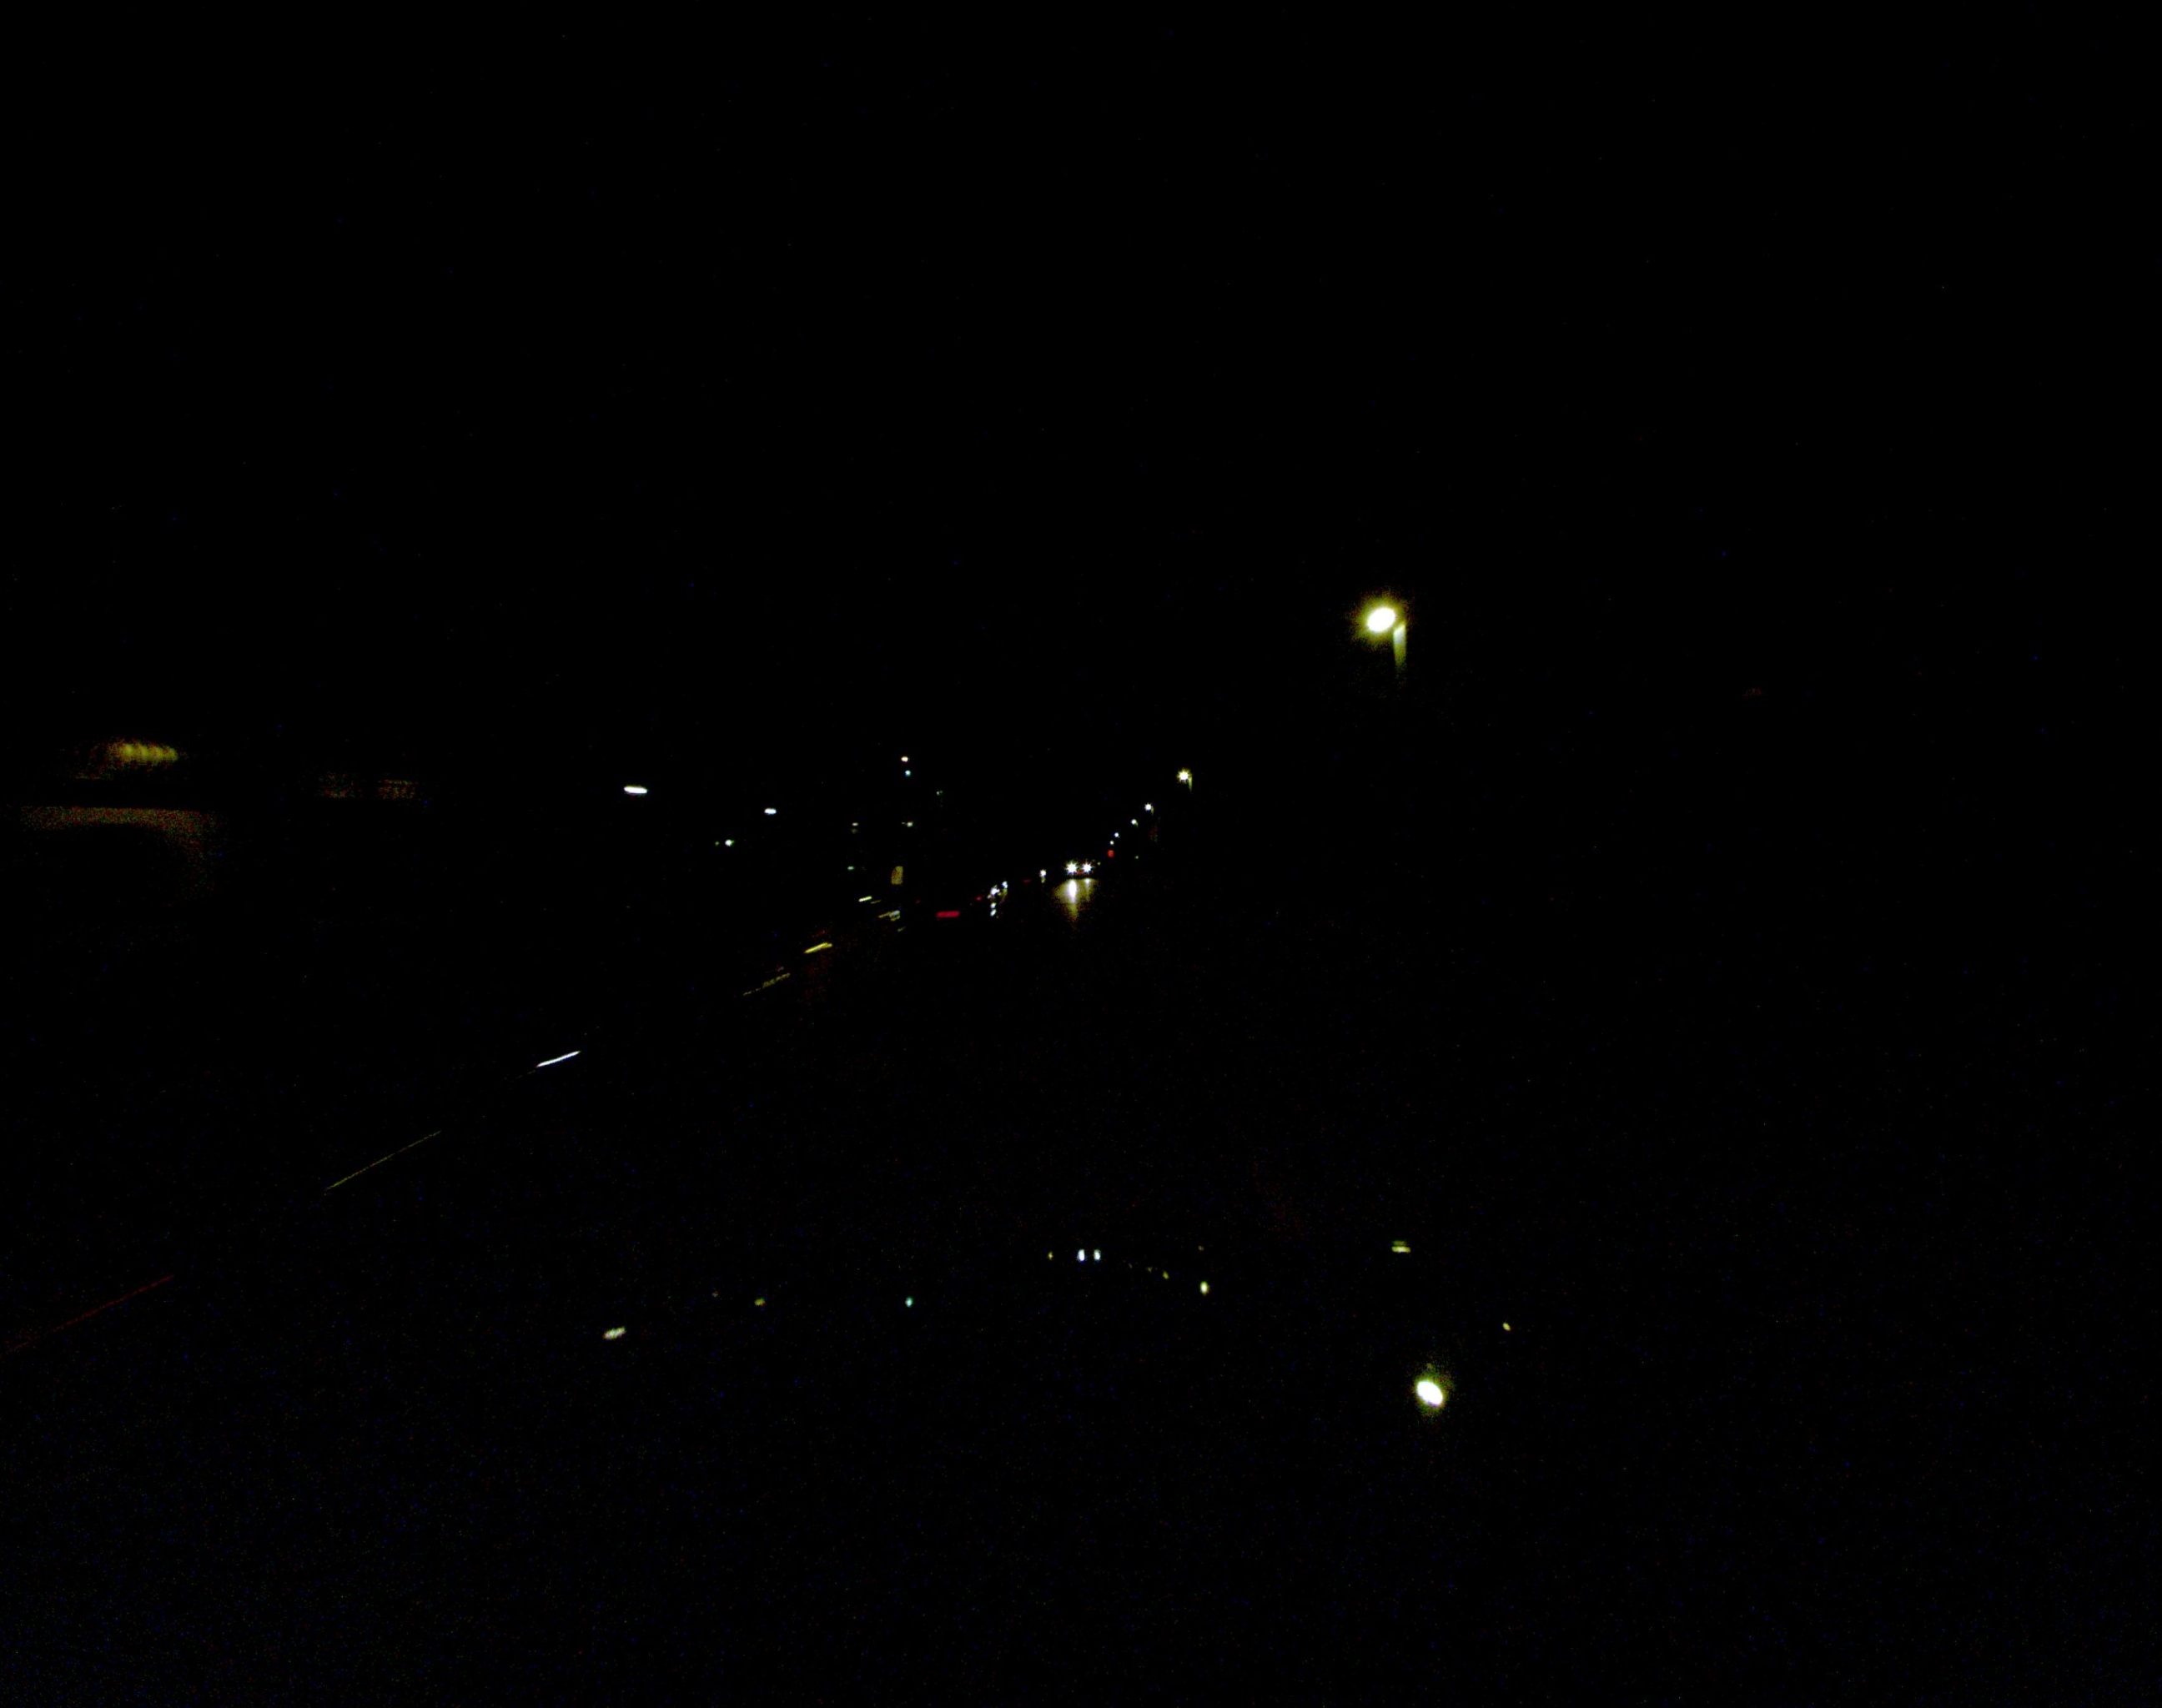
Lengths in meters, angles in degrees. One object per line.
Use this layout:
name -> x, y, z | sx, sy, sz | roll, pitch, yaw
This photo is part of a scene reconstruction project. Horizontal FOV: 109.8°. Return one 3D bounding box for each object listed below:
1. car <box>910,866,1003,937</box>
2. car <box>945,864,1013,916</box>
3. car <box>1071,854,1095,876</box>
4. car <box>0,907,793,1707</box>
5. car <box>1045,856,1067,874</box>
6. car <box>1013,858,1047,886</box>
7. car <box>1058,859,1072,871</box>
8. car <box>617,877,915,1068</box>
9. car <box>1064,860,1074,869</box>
car -> -2.960, 1.075, 18.775 | 1.681, 1.439, 3.999 | -2, 0, -1
car -> -3.146, 1.075, 23.995 | 1.604, 1.390, 3.517 | -2, 0, 1
car -> 0.086, 0.749, 55.150 | 1.627, 1.495, 3.549 | -2, 0, -1
car -> -2.920, 1.113, 3.129 | 1.766, 1.407, 4.439 | -2, 0, -1
car -> -2.143, 0.919, 65.549 | 1.702, 1.447, 3.713 | -2, 0, -1
car -> -2.835, 0.984, 42.853 | 1.656, 1.465, 3.517 | -2, 0, -1
car -> -2.015, 1.352, 95.670 | 1.702, 1.447, 3.713 | -2, 0, -1
car -> -3.147, 1.090, 8.482 | 1.642, 1.458, 3.776 | -3, 0, 1
car -> -2.037, 1.751, 129.022 | 1.702, 1.447, 3.713 | -2, 0, -1
